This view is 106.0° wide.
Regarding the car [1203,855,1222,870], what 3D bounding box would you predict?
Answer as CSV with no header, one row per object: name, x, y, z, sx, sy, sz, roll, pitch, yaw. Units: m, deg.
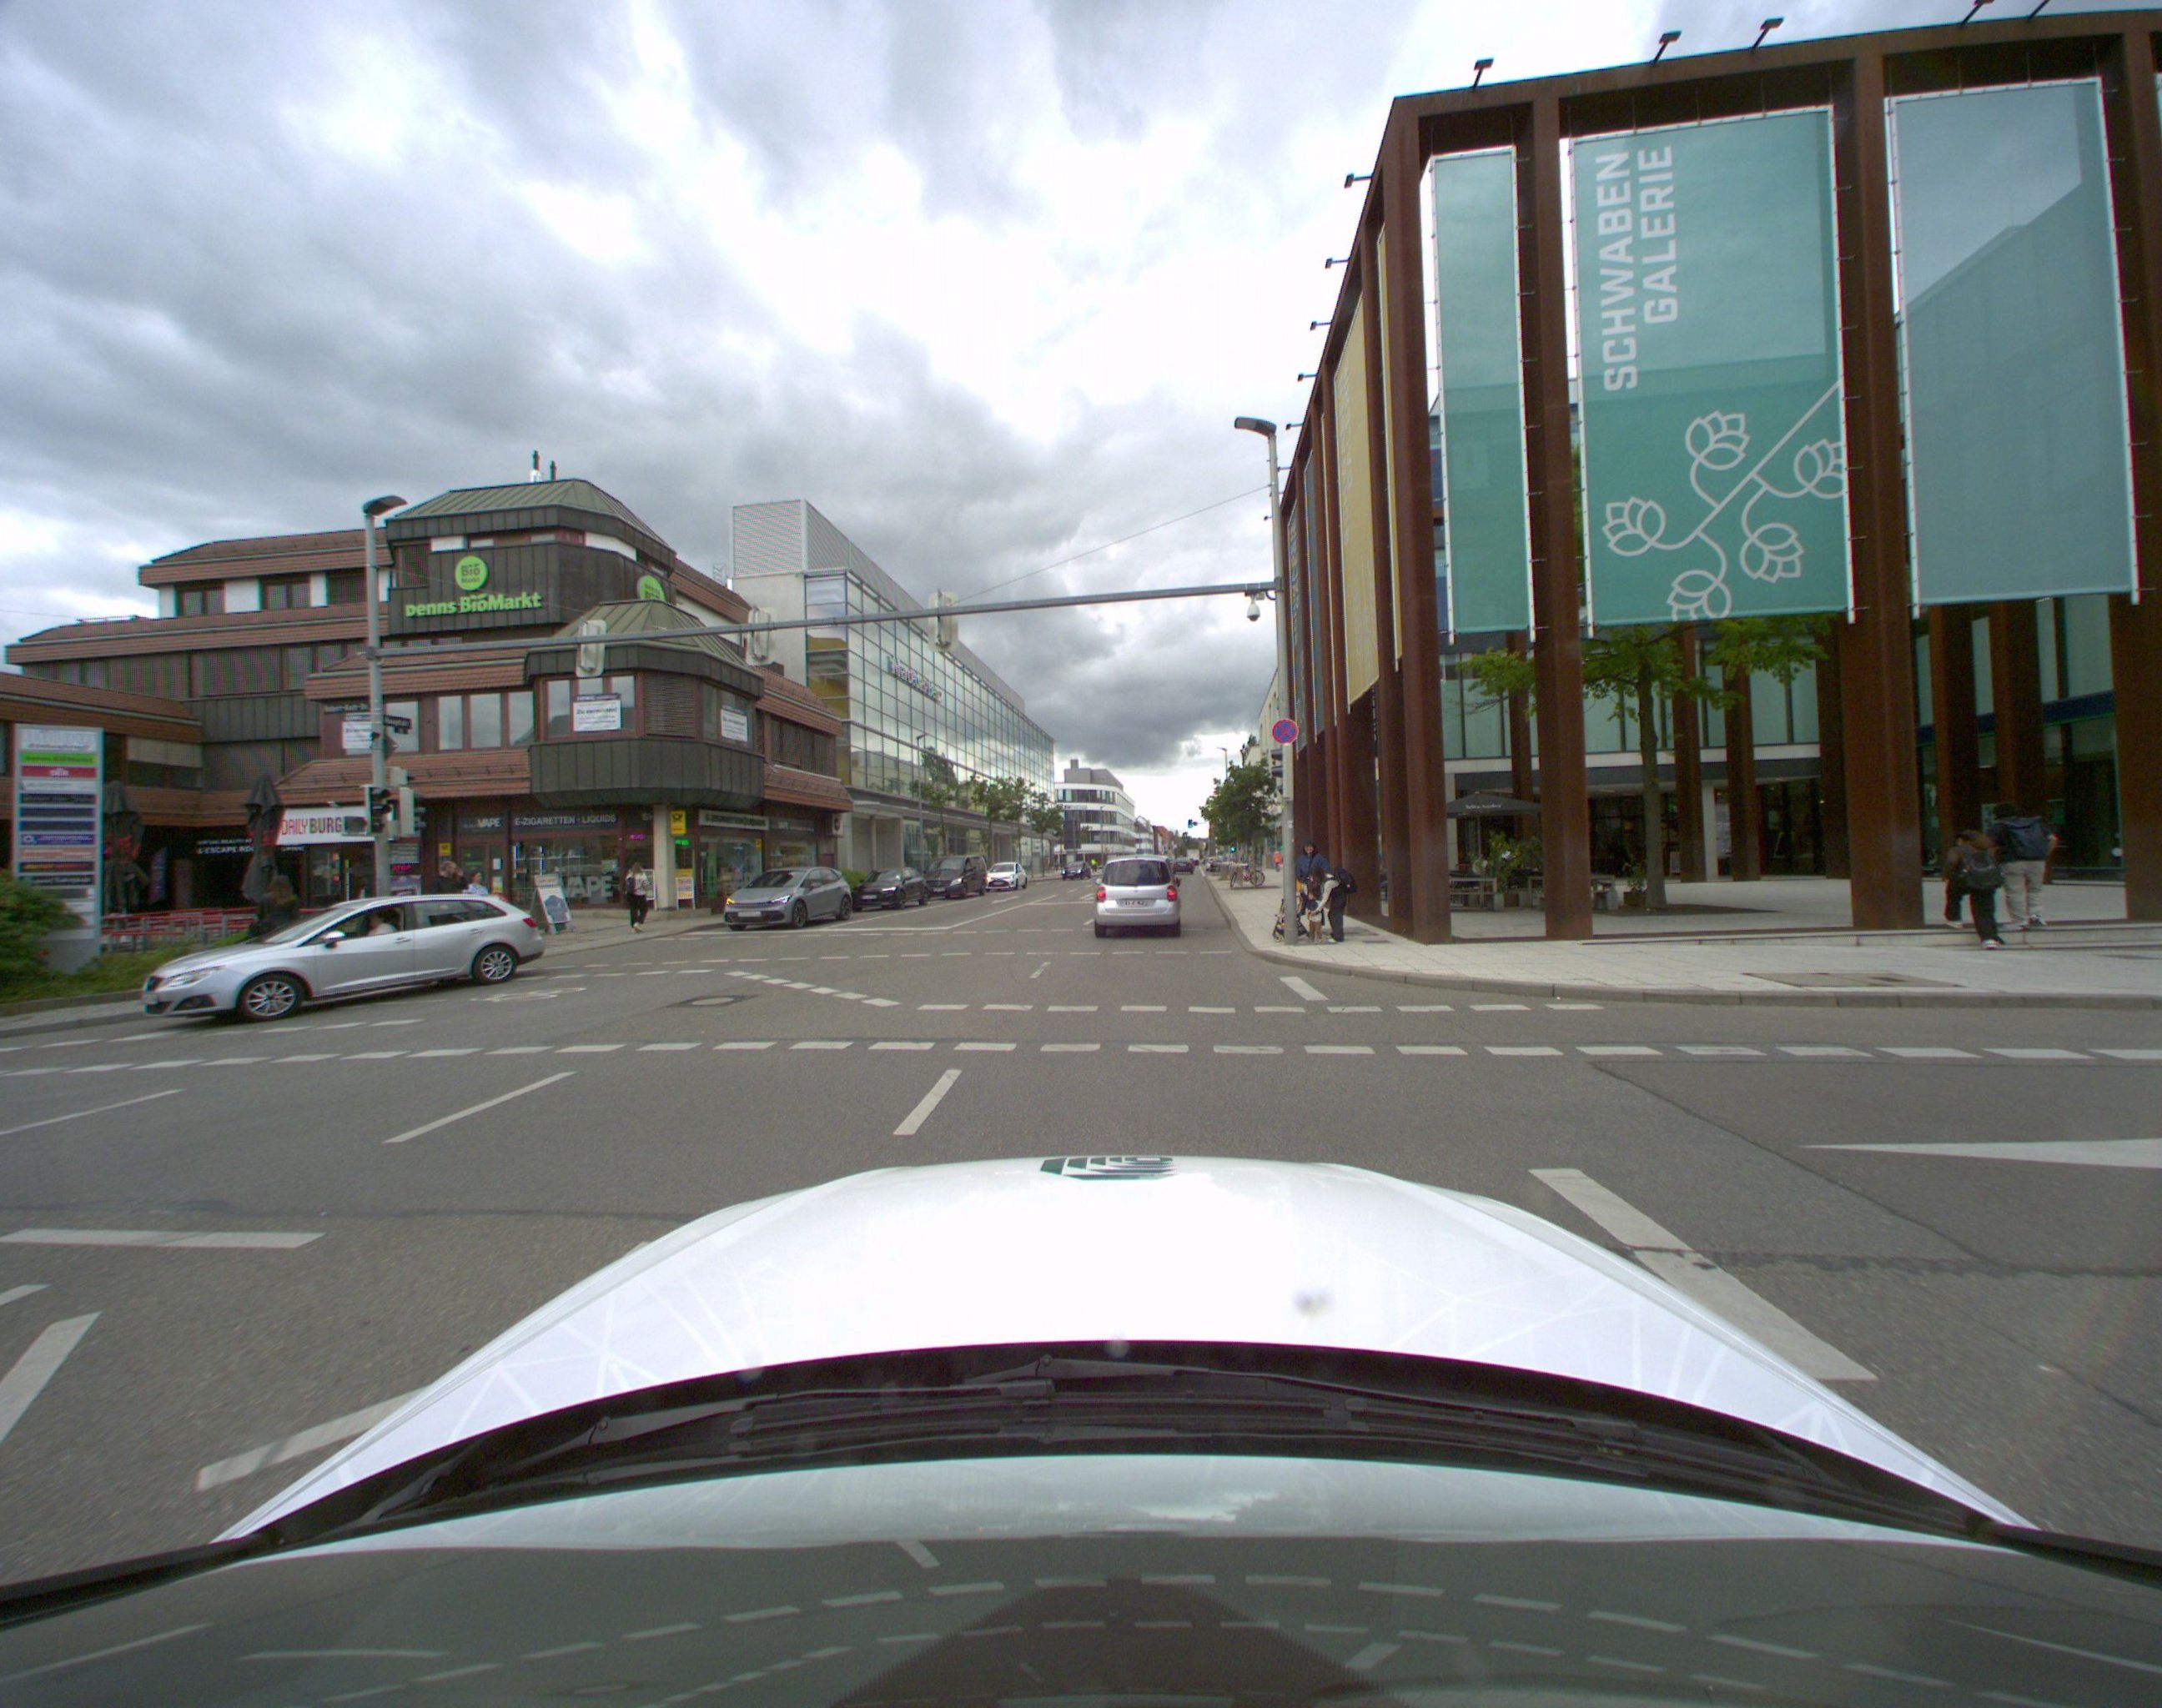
car,13.854,0.855,85.809,1.867,1.509,4.009,0,0,8

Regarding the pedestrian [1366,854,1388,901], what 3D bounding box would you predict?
pedestrian,7.935,0.624,21.849,0.445,1.220,0.608,-2,-1,10

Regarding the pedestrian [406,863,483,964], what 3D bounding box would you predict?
pedestrian,-11.806,1.074,15.128,0.807,1.808,0.746,-1,0,-1

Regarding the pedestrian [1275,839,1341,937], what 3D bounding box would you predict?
pedestrian,3.961,0.570,14.201,0.861,1.646,0.684,-2,0,42

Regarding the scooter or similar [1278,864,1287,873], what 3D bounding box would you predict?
scooter or similar,14.242,1.042,57.578,0.547,0.546,0.644,-5,-1,8

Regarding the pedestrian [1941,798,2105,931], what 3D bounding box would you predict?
pedestrian,12.666,0.141,11.003,0.874,1.681,1.122,-2,-1,5

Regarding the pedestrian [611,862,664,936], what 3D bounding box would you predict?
pedestrian,-10.442,1.043,19.180,0.745,1.693,0.778,-2,0,3

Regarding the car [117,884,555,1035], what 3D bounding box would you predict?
car,-10.187,1.326,11.589,1.619,1.418,4.225,-3,1,27

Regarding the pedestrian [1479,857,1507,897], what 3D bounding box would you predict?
pedestrian,12.931,0.716,25.554,0.512,1.208,0.797,-2,0,6

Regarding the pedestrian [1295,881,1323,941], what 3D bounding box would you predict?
pedestrian,3.652,0.909,13.058,0.359,0.924,0.456,-2,0,10

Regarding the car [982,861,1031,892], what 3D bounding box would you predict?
car,-3.934,1.179,43.726,1.651,1.465,4.009,-3,-1,8

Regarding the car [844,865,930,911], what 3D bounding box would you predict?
car,-6.759,1.142,28.805,1.693,1.443,4.006,-2,0,6

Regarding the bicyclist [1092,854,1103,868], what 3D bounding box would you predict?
bicyclist,1.931,0.809,95.967,1.011,1.660,0.925,1,-1,-27

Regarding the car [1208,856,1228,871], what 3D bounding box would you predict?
car,13.321,0.907,79.332,1.867,1.335,4.009,0,0,8

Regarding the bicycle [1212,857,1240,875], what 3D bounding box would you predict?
bicycle,9.851,0.813,55.376,1.816,1.074,0.754,-3,-1,6

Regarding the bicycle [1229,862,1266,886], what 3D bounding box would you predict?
bicycle,7.267,0.867,35.537,1.550,0.992,0.754,-2,-1,11

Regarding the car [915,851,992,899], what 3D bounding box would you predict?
car,-5.540,0.878,36.116,1.855,1.910,5.125,-3,-1,8

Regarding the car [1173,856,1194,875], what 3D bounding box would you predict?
car,8.835,0.952,69.969,1.659,1.554,3.652,0,0,9

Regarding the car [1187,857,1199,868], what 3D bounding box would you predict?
car,21.559,1.687,156.170,2.158,2.013,4.268,-2,0,8

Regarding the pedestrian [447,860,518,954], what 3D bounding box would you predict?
pedestrian,-12.007,1.044,16.360,0.807,1.808,0.775,-1,0,-1

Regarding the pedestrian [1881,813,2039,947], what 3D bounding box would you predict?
pedestrian,11.733,0.329,10.926,0.874,1.681,1.122,-2,-1,5

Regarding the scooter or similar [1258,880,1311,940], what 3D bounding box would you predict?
scooter or similar,3.432,0.935,13.757,0.627,0.961,0.624,-2,-1,41

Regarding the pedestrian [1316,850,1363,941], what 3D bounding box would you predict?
pedestrian,4.122,0.651,13.016,0.597,1.420,0.584,-2,0,10

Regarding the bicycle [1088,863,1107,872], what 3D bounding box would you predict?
bicycle,1.929,1.603,95.942,1.011,1.018,3.102,1,-1,-27

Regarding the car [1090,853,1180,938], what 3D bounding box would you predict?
car,1.170,0.767,16.786,1.661,1.554,3.648,0,0,6

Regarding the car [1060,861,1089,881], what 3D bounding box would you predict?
car,-0.478,1.329,65.135,1.650,1.480,4.010,-3,-1,9

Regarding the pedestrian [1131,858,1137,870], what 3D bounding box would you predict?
pedestrian,8.691,1.596,133.530,0.955,1.833,1.253,-2,-1,8

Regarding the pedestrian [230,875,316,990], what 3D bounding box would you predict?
pedestrian,-12.859,1.211,12.968,0.693,1.713,0.818,-2,0,34

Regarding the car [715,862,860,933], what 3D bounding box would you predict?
car,-7.537,1.062,21.436,1.749,1.517,4.395,-3,0,6

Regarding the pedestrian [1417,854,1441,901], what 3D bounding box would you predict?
pedestrian,9.233,0.624,21.610,0.444,1.220,0.608,-2,-1,12

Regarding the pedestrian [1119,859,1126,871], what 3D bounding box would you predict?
pedestrian,6.892,1.791,134.234,0.955,1.833,1.253,-2,-1,8

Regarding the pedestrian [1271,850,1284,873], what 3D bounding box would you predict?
pedestrian,14.096,0.544,58.413,0.706,1.574,0.814,-5,-1,8
